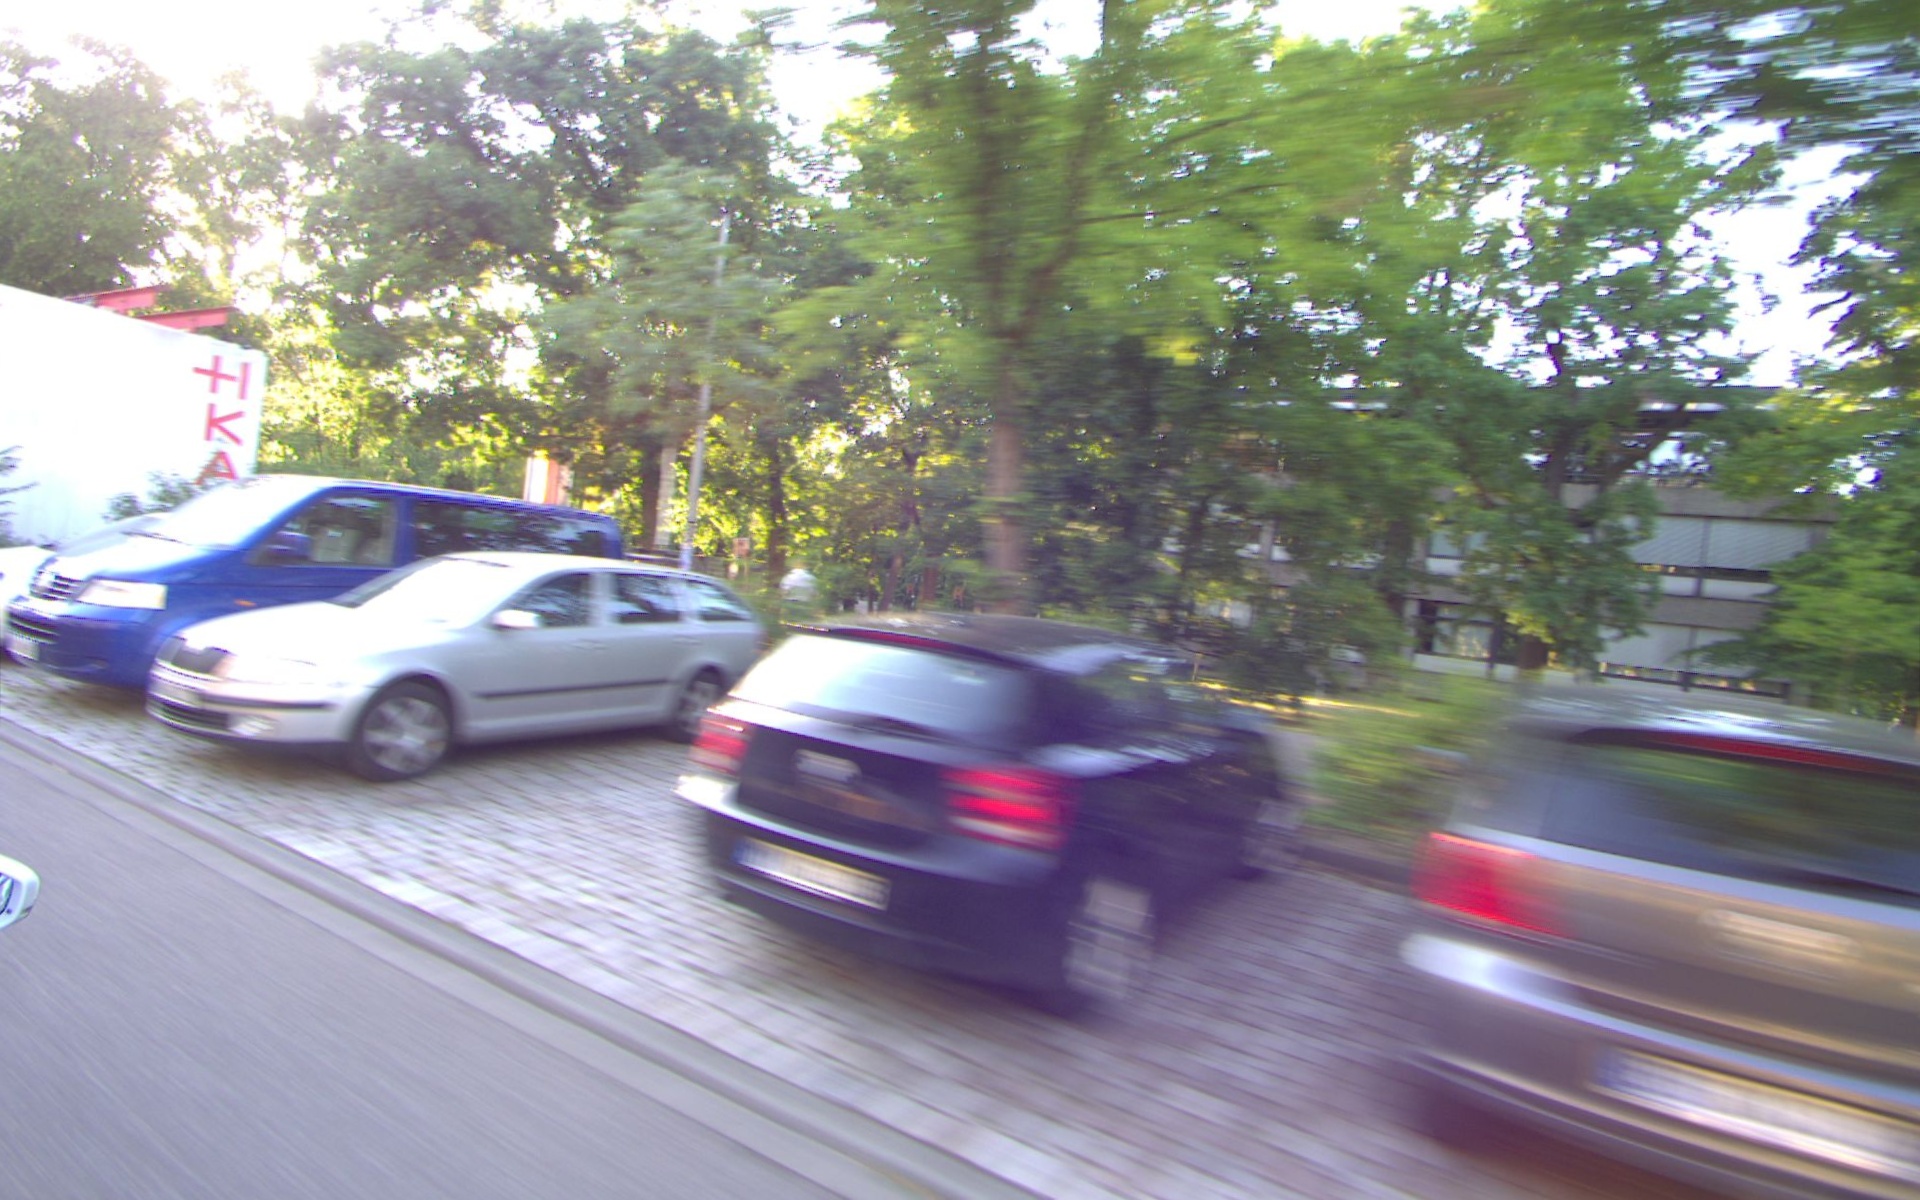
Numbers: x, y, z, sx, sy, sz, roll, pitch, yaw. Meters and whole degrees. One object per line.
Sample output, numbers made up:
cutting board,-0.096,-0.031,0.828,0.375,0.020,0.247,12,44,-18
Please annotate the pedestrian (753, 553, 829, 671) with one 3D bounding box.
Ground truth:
pedestrian,-2.732,0.203,16.322,0.772,1.794,0.665,8,1,27

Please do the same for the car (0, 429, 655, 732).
car,-5.342,-0.118,9.065,1.884,1.941,4.855,7,2,30

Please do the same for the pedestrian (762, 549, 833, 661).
pedestrian,-2.766,0.086,17.158,0.776,1.794,0.648,7,0,27

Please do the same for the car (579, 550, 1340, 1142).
car,0.518,0.759,5.216,1.888,1.557,4.366,7,2,30

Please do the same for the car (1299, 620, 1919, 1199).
car,2.895,1.001,4.106,1.888,1.557,4.366,7,2,30

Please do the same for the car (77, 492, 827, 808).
car,-3.367,0.300,7.861,1.884,1.574,4.930,7,2,30

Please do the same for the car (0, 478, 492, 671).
car,-7.679,-0.228,10.350,1.884,1.574,4.930,7,2,30
